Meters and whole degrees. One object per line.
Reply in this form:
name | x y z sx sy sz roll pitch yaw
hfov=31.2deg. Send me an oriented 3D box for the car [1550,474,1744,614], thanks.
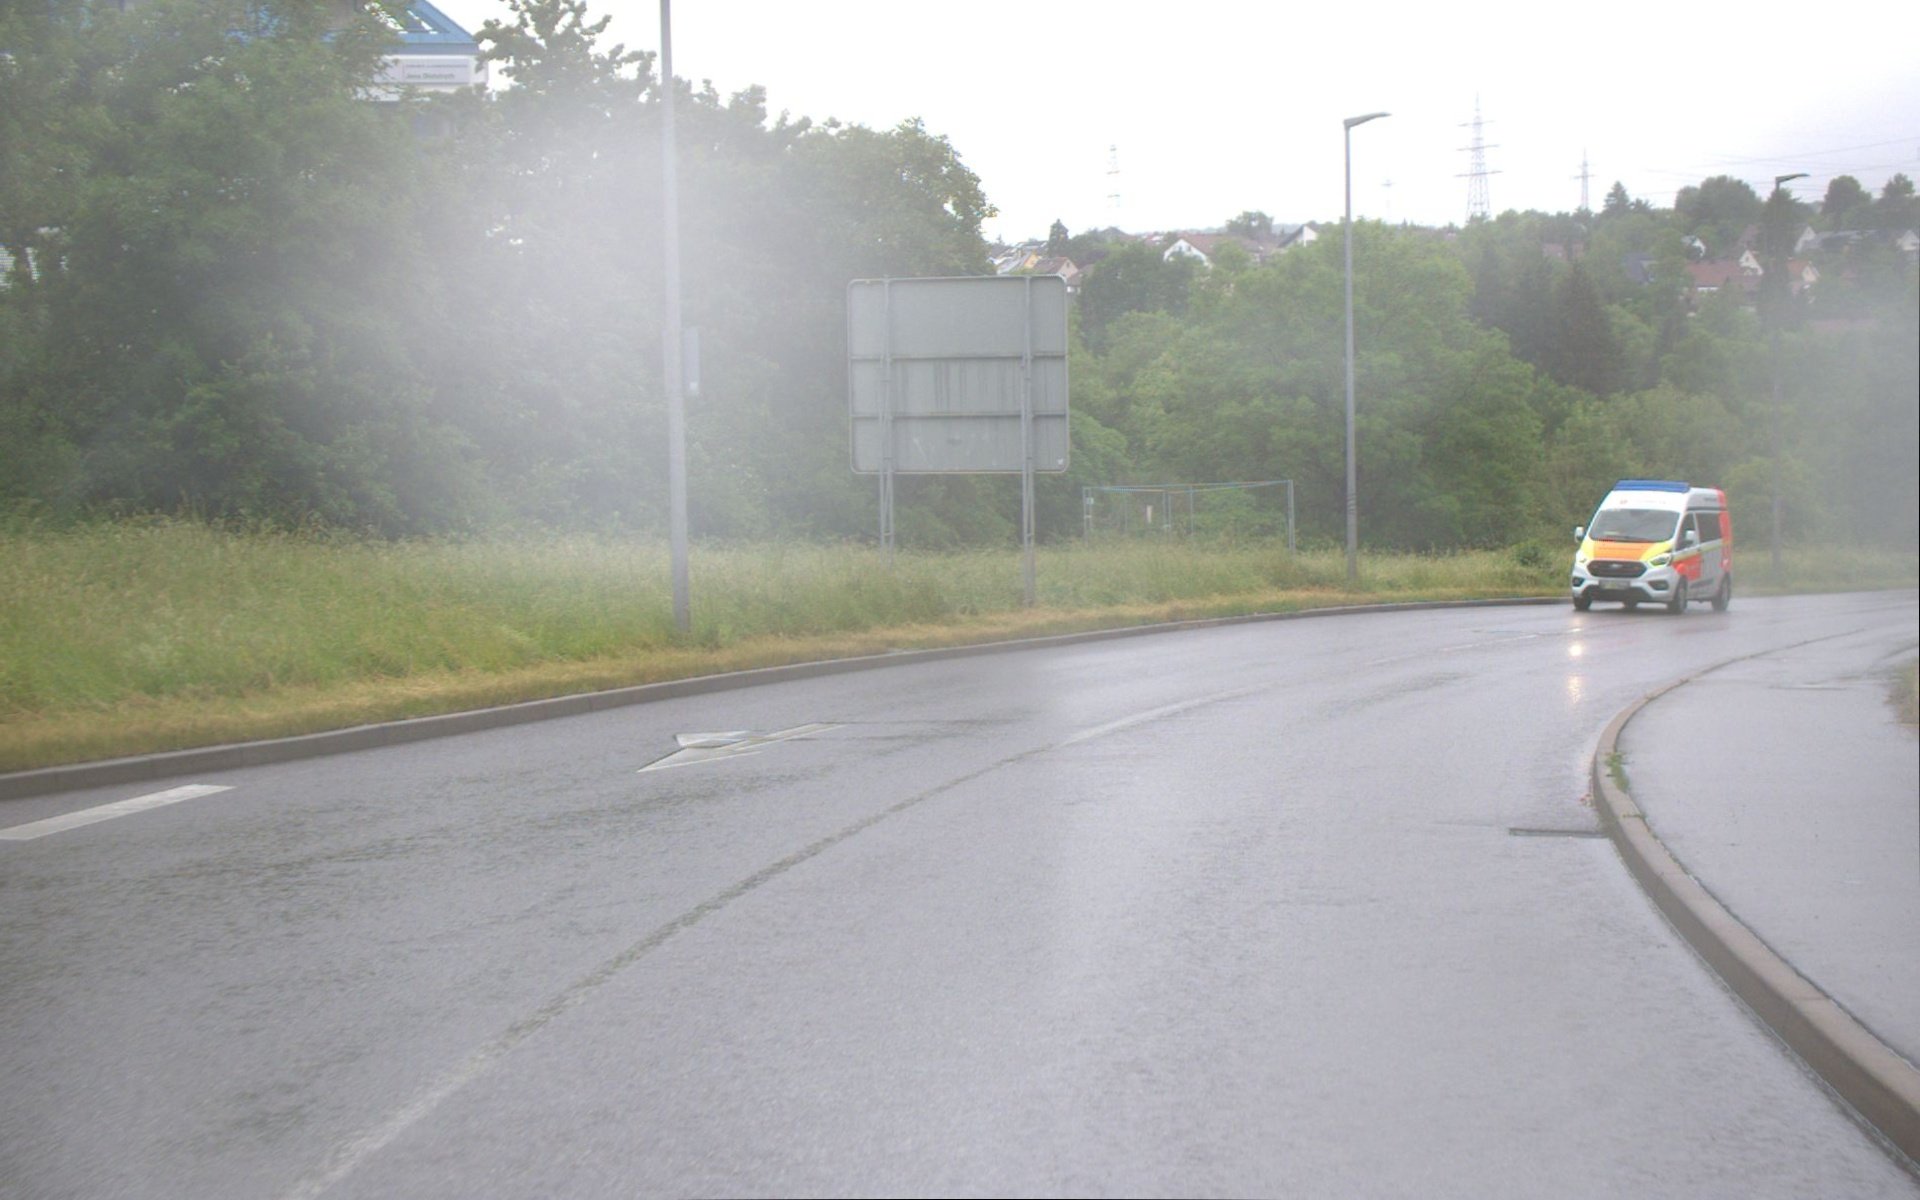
car | 12.818 -1.023 63.888 2.048 2.409 5.447 3 2 27
